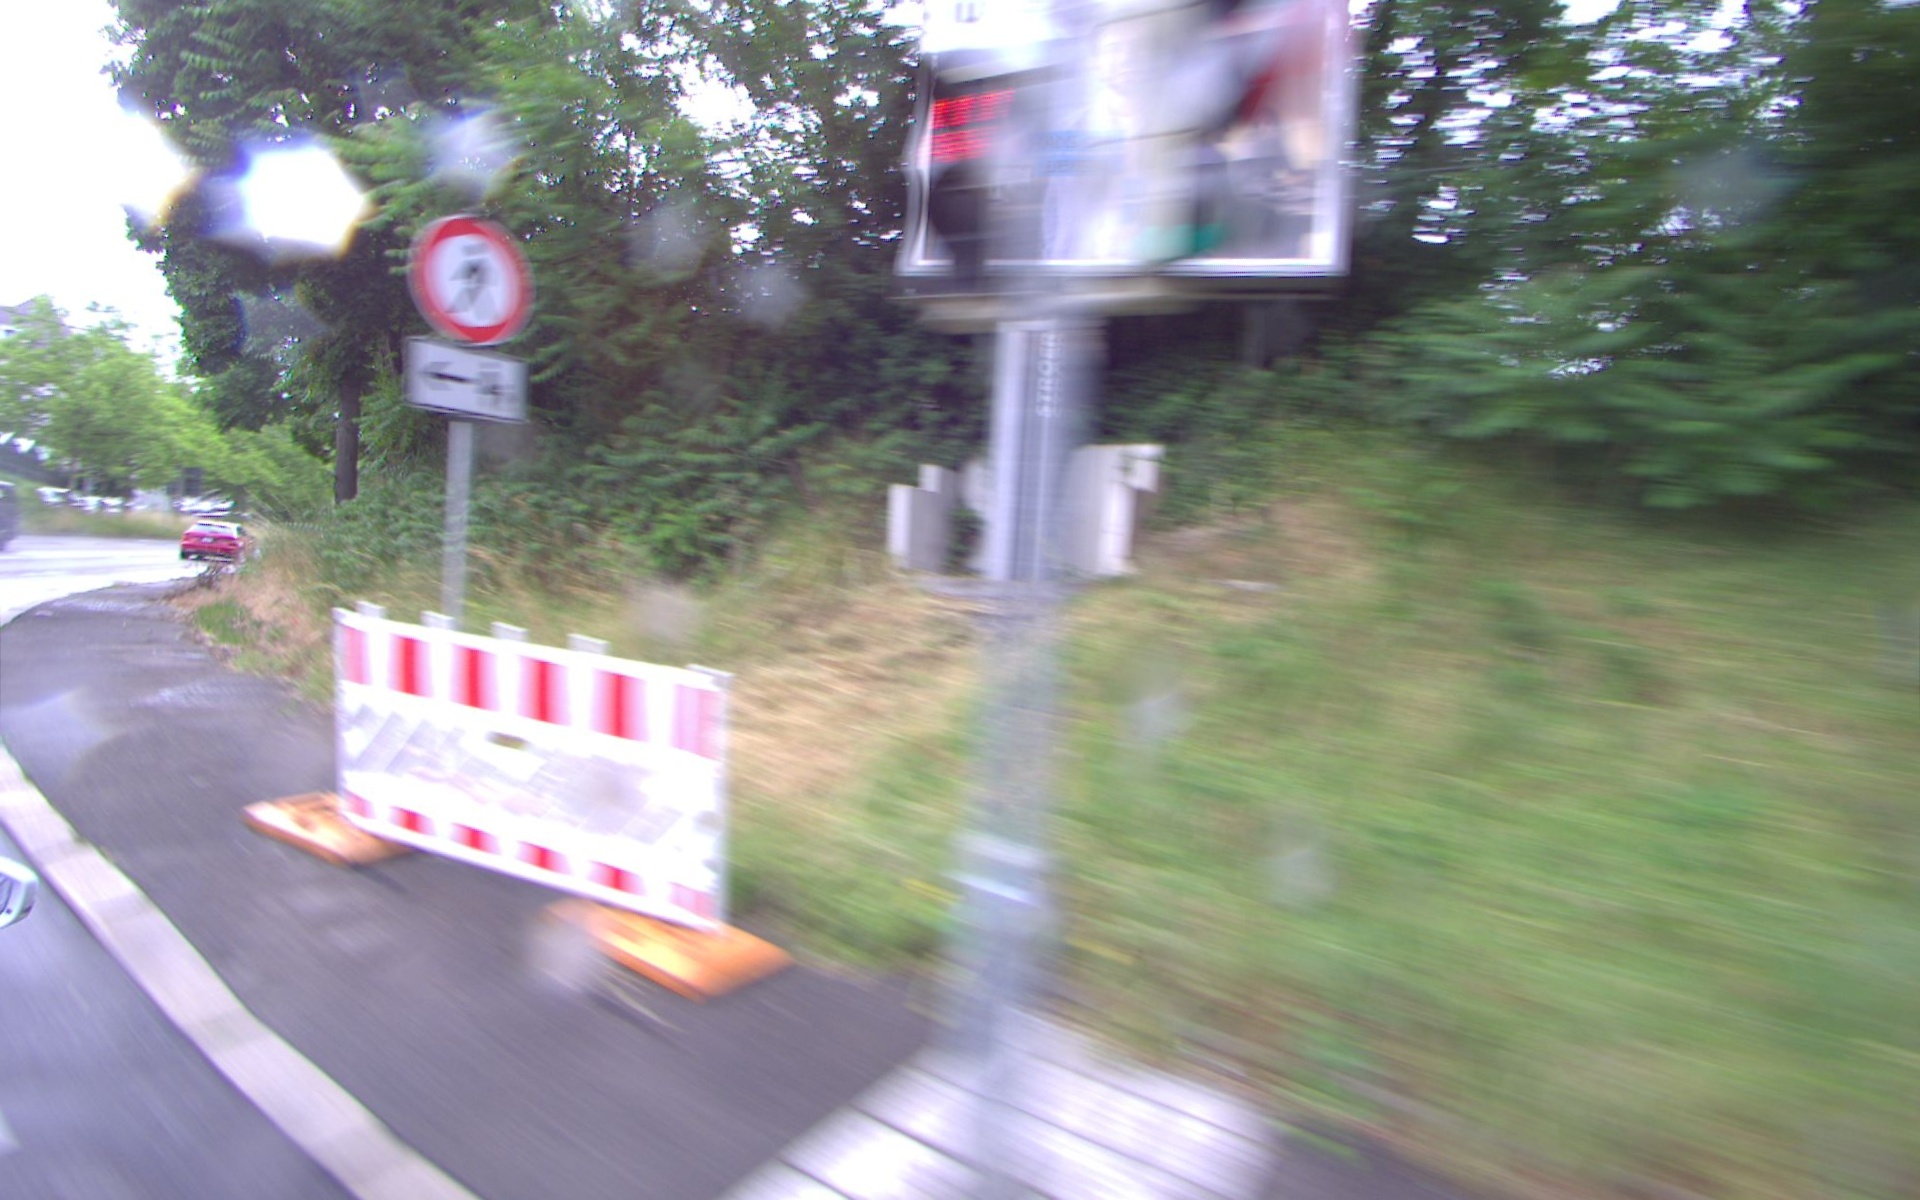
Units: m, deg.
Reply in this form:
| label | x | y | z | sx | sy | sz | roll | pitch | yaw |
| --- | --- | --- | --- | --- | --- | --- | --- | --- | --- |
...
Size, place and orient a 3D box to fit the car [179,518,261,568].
| label | x | y | z | sx | sy | sz | roll | pitch | yaw |
| --- | --- | --- | --- | --- | --- | --- | --- | --- | --- |
| car | -26.606 | -2.007 | 36.269 | 1.678 | 1.443 | 3.348 | 6 | -2 | -26 |

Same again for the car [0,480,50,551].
| label | x | y | z | sx | sy | sz | roll | pitch | yaw |
| --- | --- | --- | --- | --- | --- | --- | --- | --- | --- |
| car | -26.958 | -2.375 | 27.252 | 1.995 | 1.891 | 5.009 | 5 | 1 | -26 |
